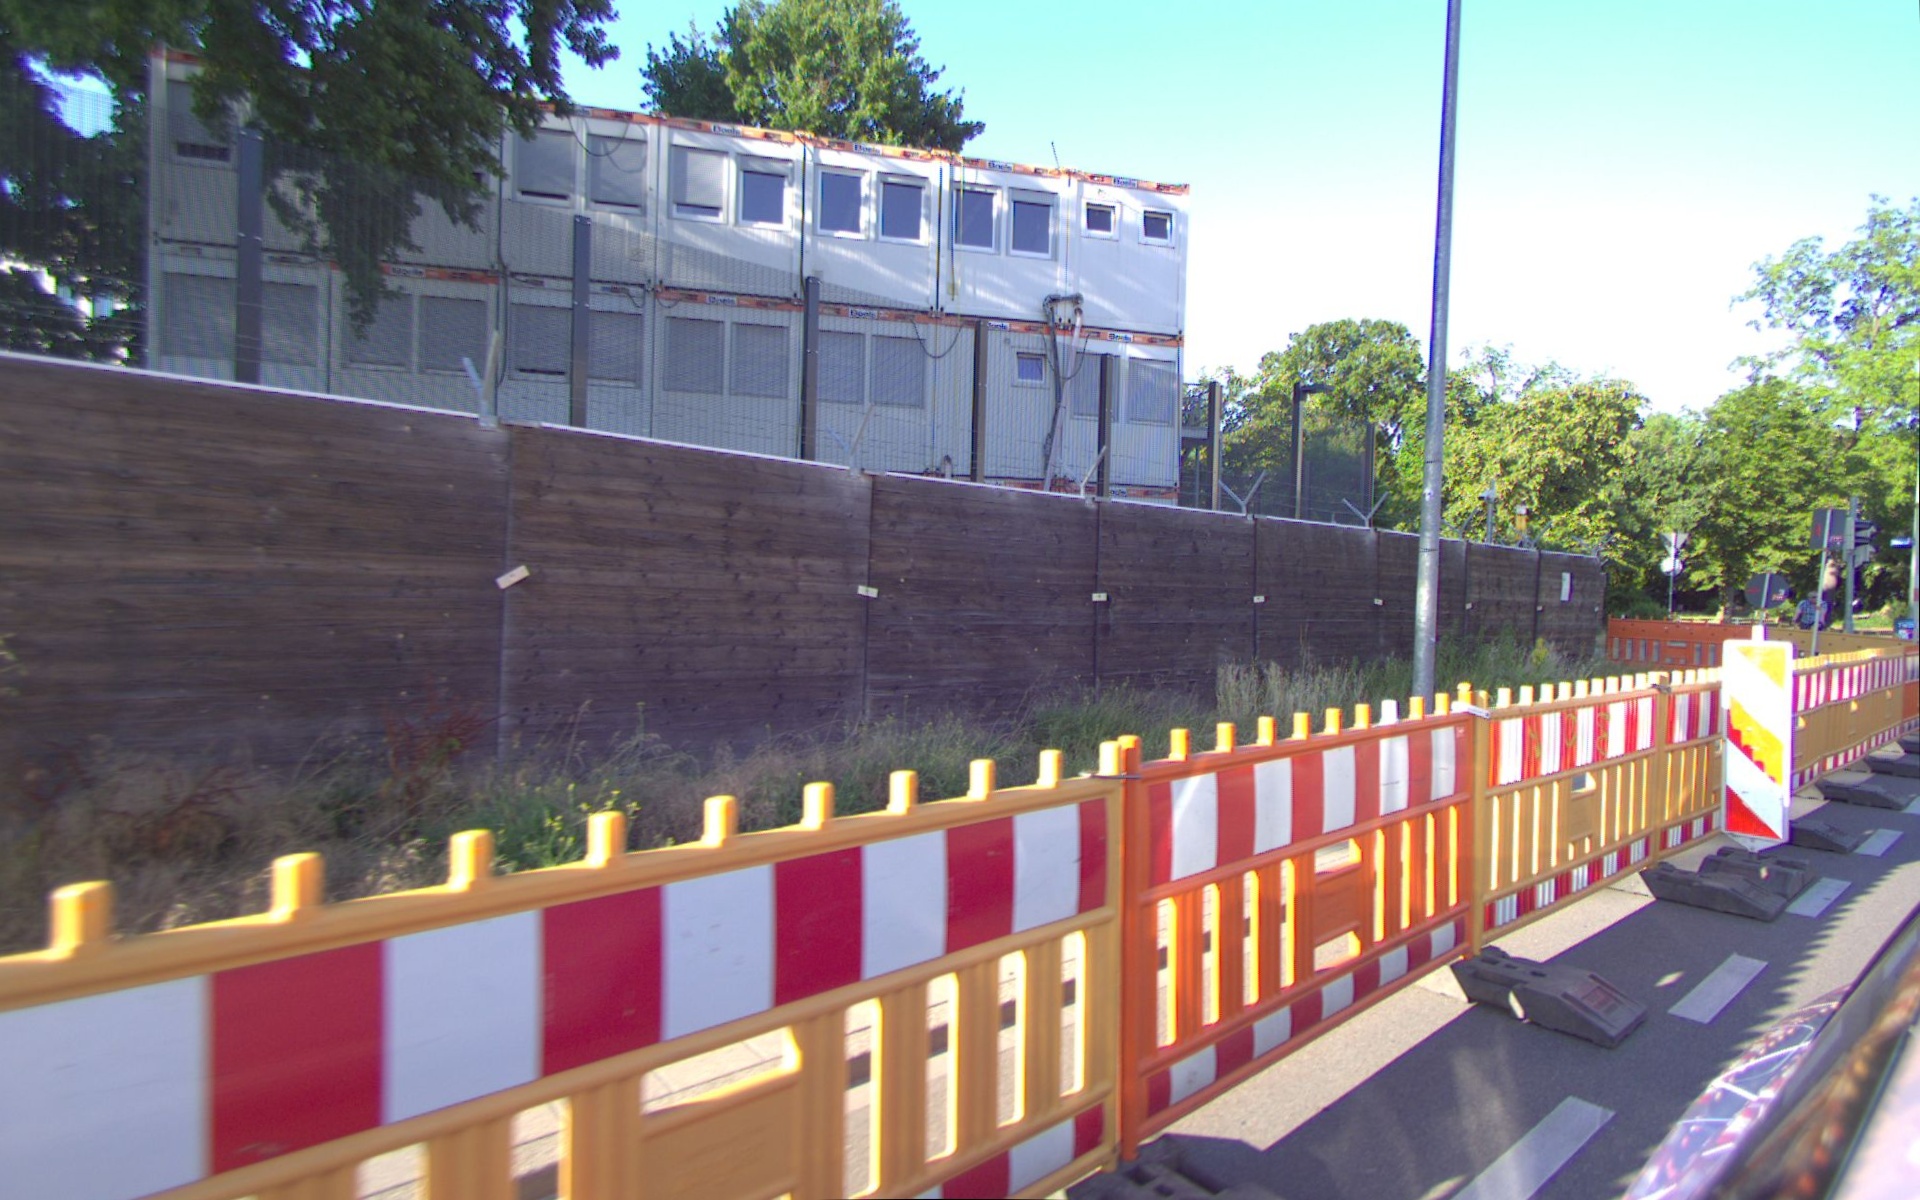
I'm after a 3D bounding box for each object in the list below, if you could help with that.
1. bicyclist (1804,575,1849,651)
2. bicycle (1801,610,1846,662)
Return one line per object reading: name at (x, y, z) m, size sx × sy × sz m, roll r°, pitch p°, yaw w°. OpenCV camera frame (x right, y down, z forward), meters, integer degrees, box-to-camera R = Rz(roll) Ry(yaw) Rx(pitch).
bicyclist at (19.165, 0.275, 22.381) m, size 0.887 × 1.634 × 0.585 m, roll 0°, pitch 1°, yaw -40°
bicycle at (19.200, 0.785, 22.494) m, size 1.877 × 1.074 × 0.429 m, roll 0°, pitch 2°, yaw -40°
